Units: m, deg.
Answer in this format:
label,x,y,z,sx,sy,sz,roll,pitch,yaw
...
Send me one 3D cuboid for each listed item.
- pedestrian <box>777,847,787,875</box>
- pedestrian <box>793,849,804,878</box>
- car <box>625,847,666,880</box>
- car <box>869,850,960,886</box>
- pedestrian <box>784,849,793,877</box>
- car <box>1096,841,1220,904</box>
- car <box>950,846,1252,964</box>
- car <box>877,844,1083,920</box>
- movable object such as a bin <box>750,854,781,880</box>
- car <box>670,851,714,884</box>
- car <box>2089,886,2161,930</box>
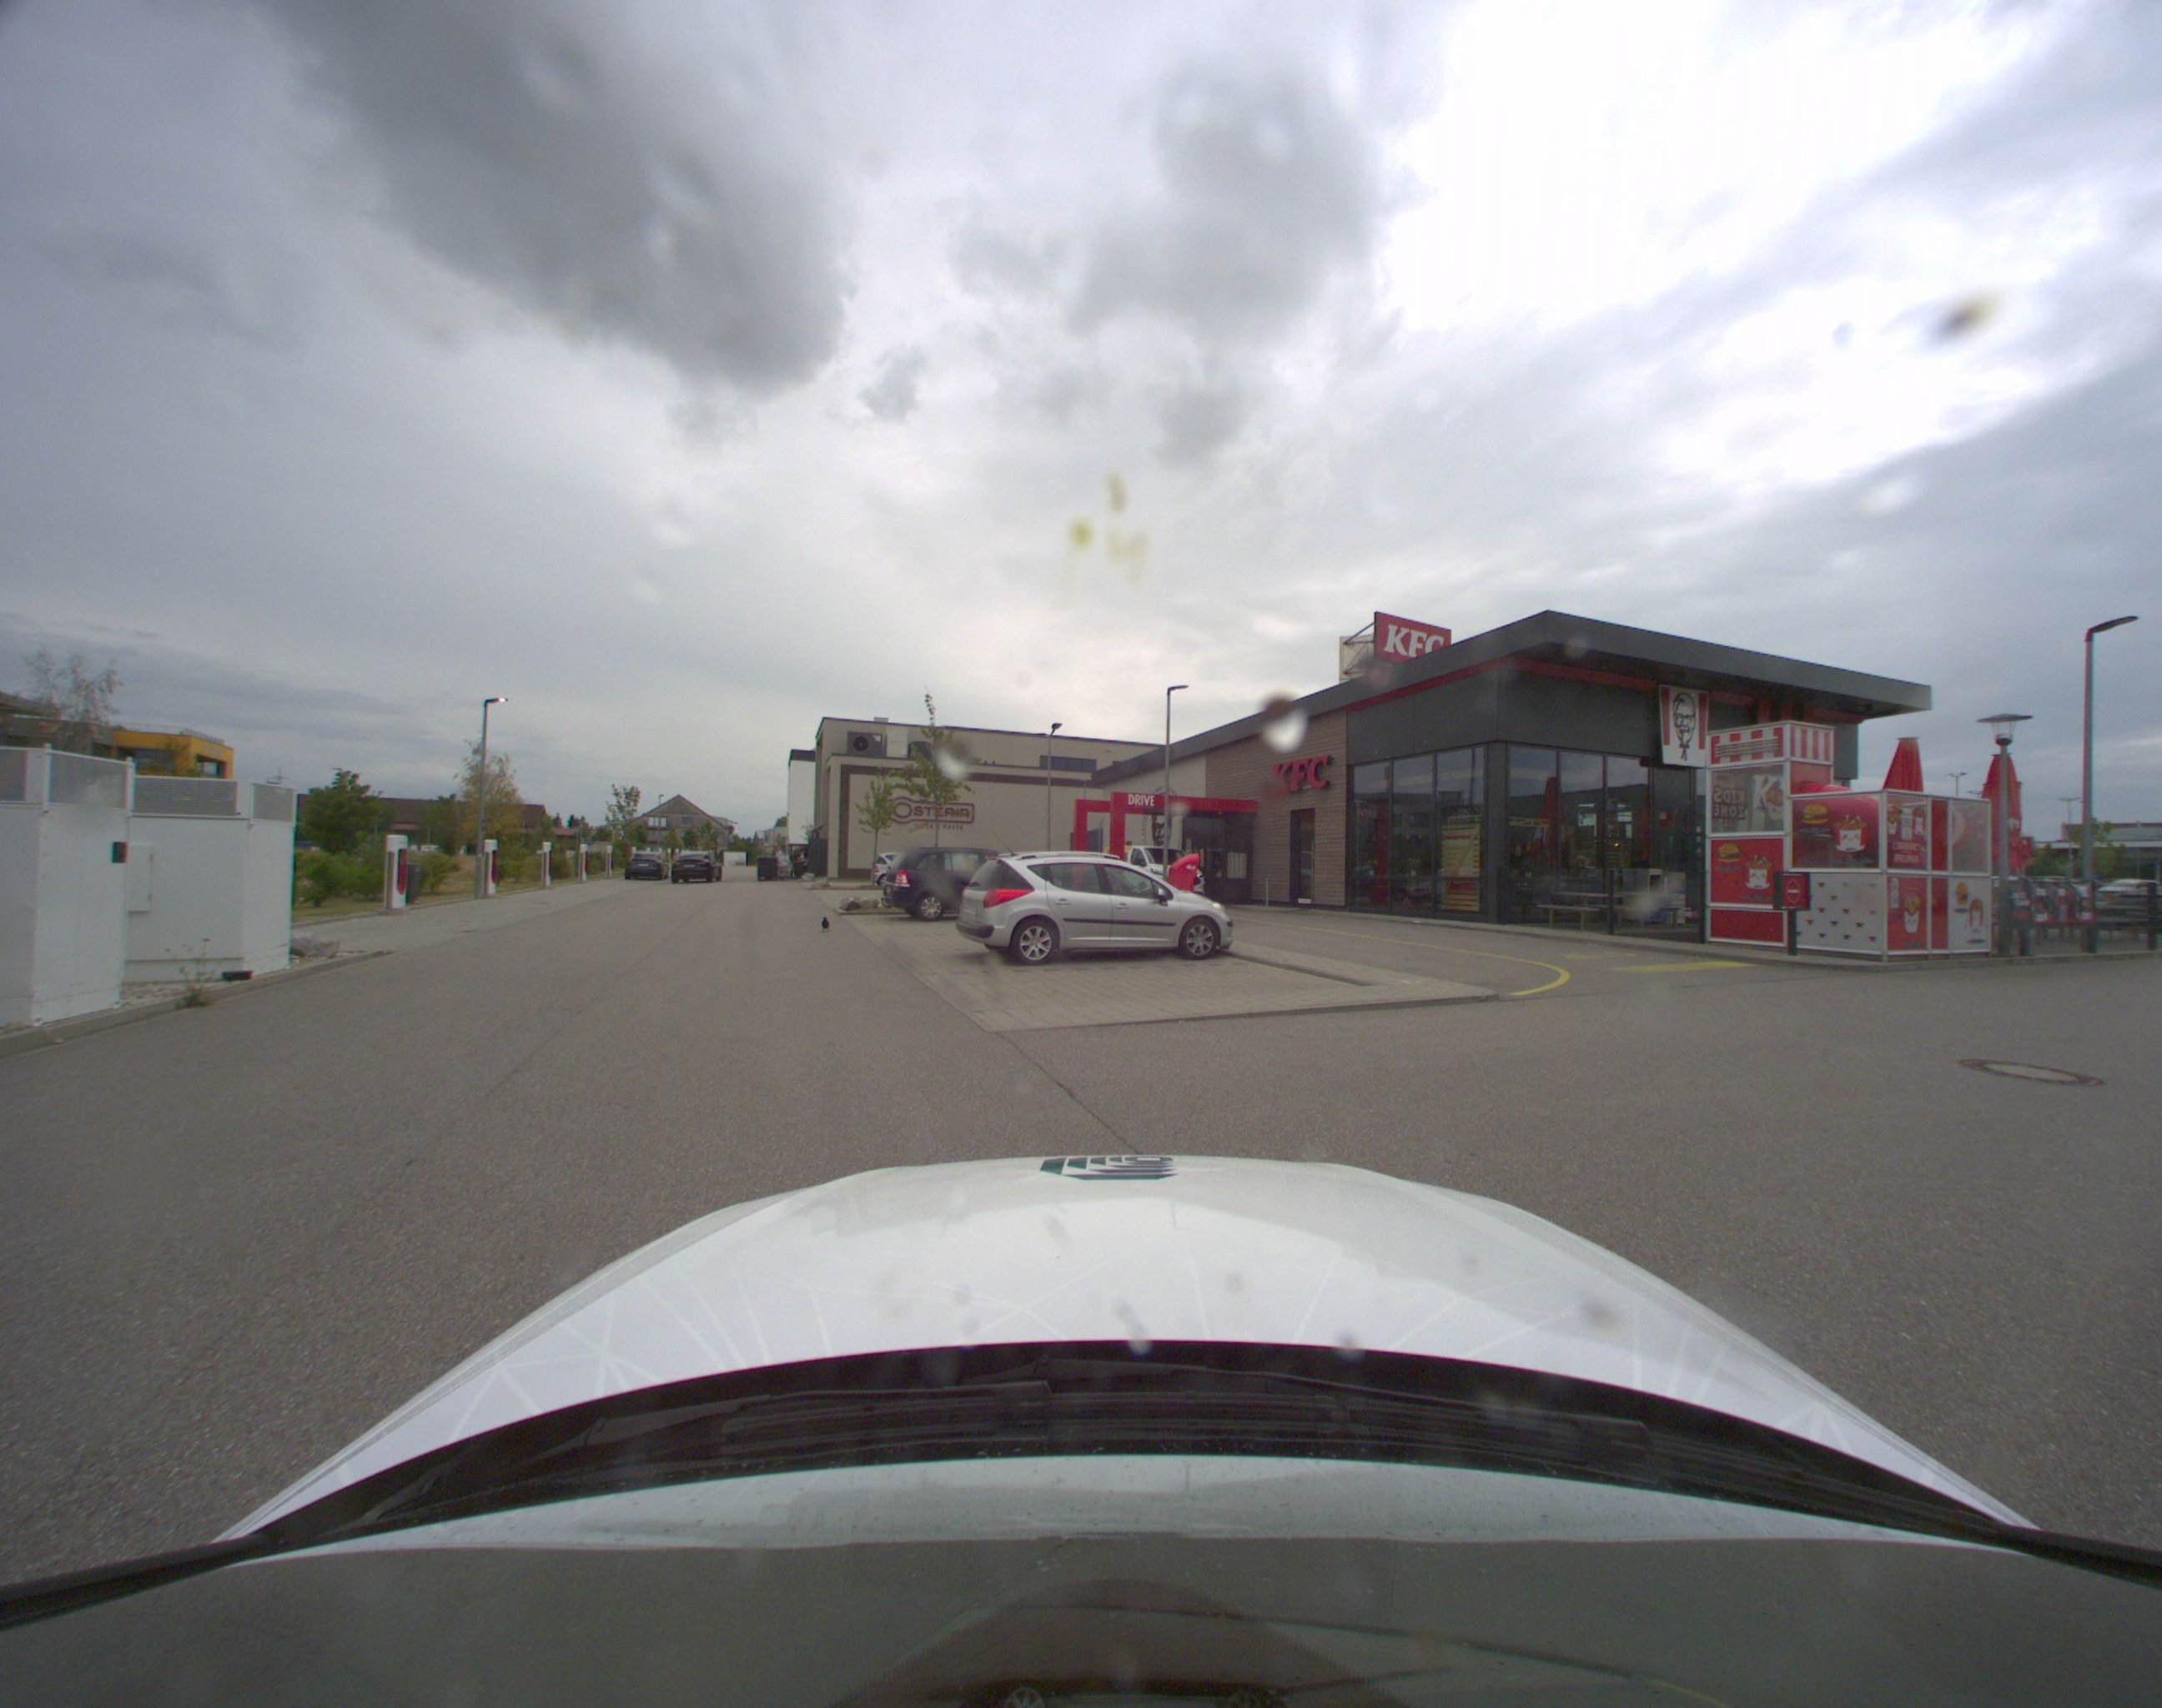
label,x,y,z,sx,sy,sz,roll,pitch,yaw
pedestrian,-17.308,0.394,47.157,0.428,1.645,0.390,0,-1,3
pedestrian,-16.718,0.558,48.212,0.575,1.684,0.386,0,-1,-28
car,-25.116,0.567,47.067,1.839,1.772,3.965,4,-2,-26
car,-7.680,0.637,37.471,3.847,1.574,1.812,0,-1,-22
pedestrian,-17.218,0.540,47.953,0.432,1.645,0.386,0,-1,-26
car,2.500,0.629,27.921,2.281,1.931,5.088,1,-1,-20
car,0.305,0.691,12.013,4.172,1.505,1.617,1,-1,-23
car,-2.320,0.627,18.854,4.490,1.617,1.573,1,-1,-23
movable object such as a bin,-17.107,0.713,44.114,1.369,1.350,1.855,0,-1,-28
car,-20.348,0.684,42.527,2.004,1.596,3.965,0,-1,-27
car,37.840,1.926,28.495,4.067,1.412,1.877,3,-1,-18
